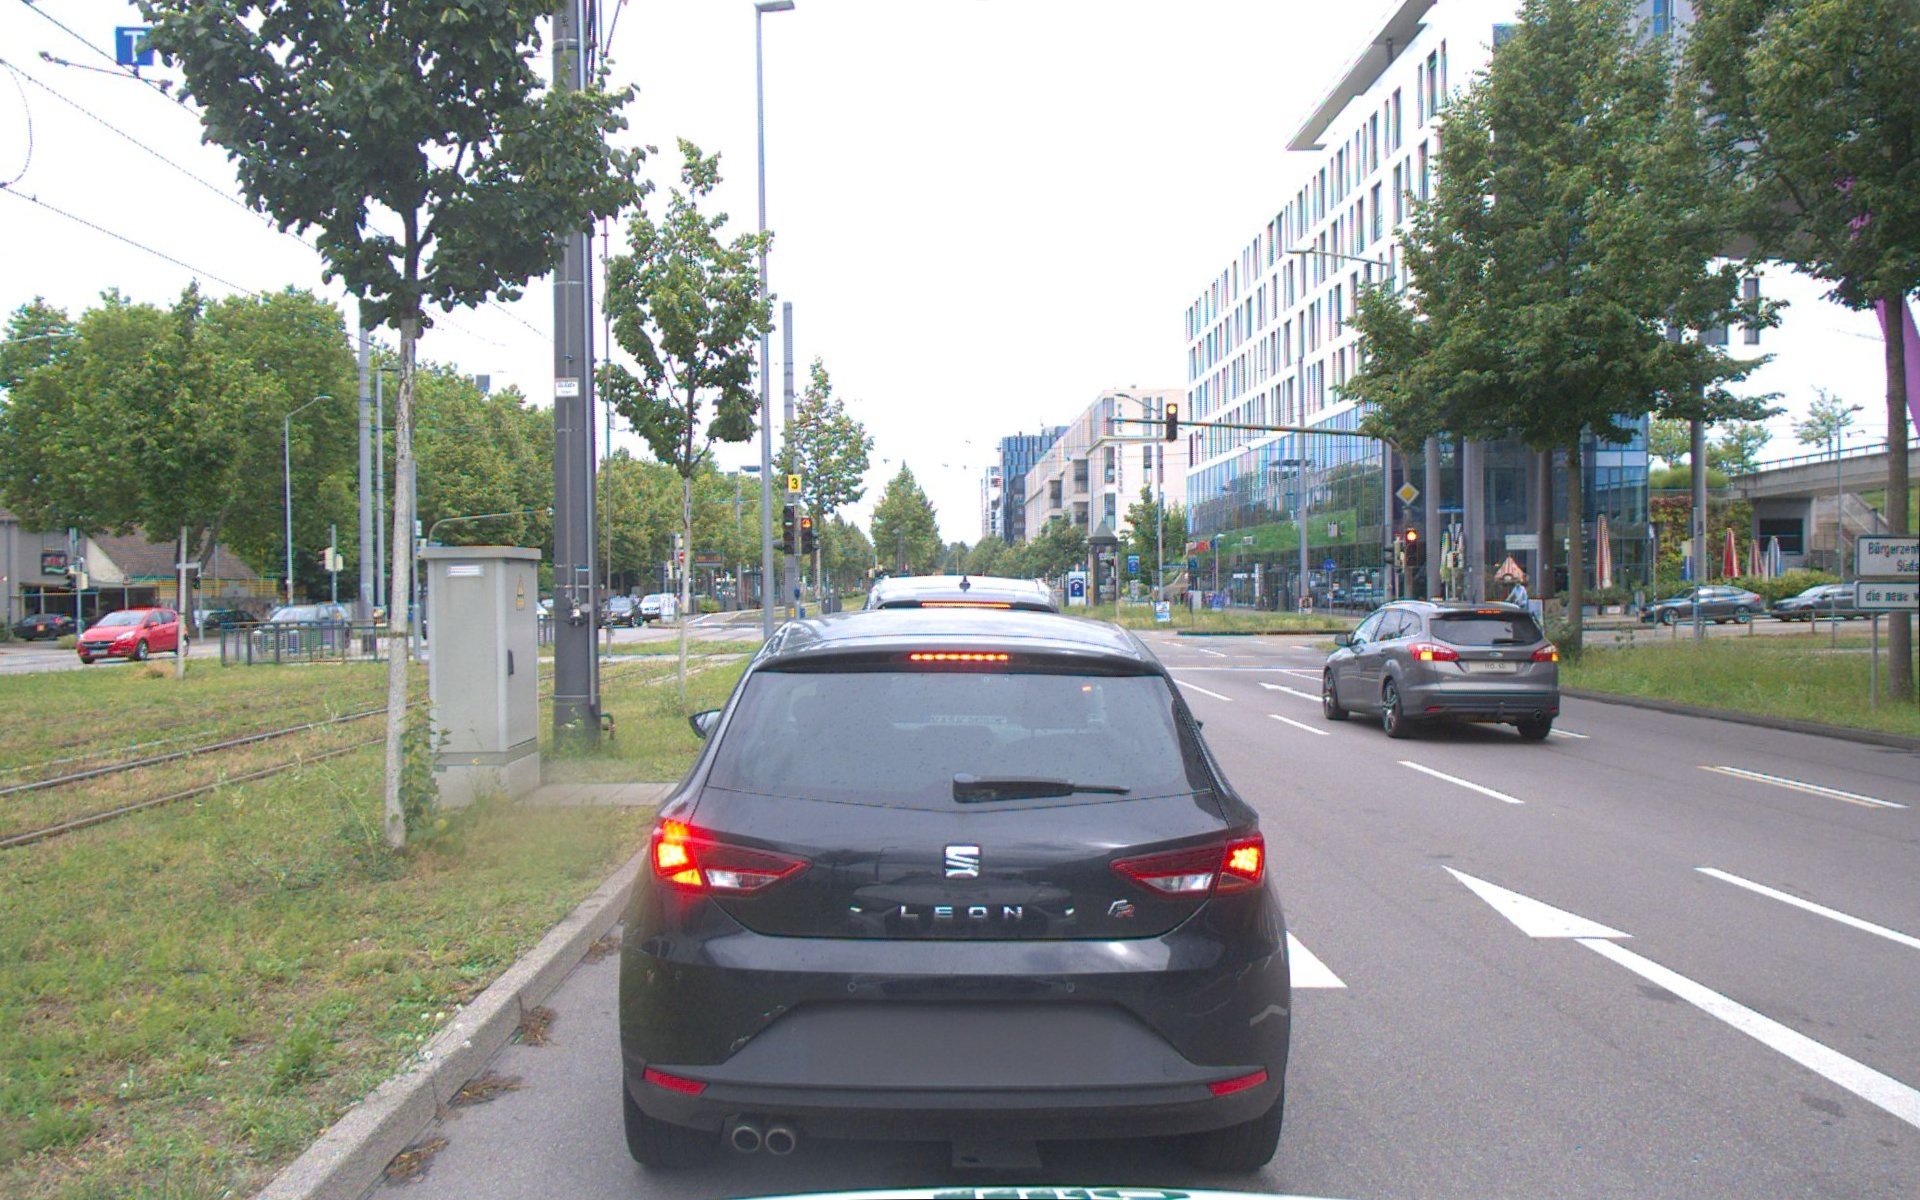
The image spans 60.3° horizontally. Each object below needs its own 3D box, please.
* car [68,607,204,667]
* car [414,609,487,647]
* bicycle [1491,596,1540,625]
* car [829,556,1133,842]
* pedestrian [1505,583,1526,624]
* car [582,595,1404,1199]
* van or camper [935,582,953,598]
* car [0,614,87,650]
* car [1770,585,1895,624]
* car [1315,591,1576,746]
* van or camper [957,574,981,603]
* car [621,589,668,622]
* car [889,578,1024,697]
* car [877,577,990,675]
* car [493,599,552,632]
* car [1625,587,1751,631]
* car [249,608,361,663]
[{"bbox_3d":[-23.825,1.033,47.998,1.759,1.598,4.328,-1,1,0],"label":"car"},{"bbox_3d":[-20.542,1.098,66.844,1.765,1.401,4.056,-1,0,-2],"label":"car"},{"bbox_3d":[22.362,0.419,66.627,1.755,1.104,0.618,-1,0,1],"label":"bicycle"},{"bbox_3d":[0.094,0.565,11.686,1.766,1.653,3.999,-1,0,-1],"label":"car"},{"bbox_3d":[22.374,0.149,66.630,0.602,1.632,0.619,-1,0,1],"label":"pedestrian"},{"bbox_3d":[0.020,0.725,5.460,1.708,1.442,3.999,1,0,-2],"label":"car"},{"bbox_3d":[-1.711,-1.075,180.675,1.953,1.643,4.789,0,2,0],"label":"van or camper"},{"bbox_3d":[-50.484,1.758,90.620,4.190,1.847,2.108,-1,0,3],"label":"car"},{"bbox_3d":[34.414,0.175,65.290,3.996,1.480,1.758,-1,0,1],"label":"car"},{"bbox_3d":[5.493,0.703,19.287,1.712,1.525,4.268,0,1,-1],"label":"car"},{"bbox_3d":[0.760,-1.065,147.620,2.066,2.397,4.923,0,2,0],"label":"van or camper"},{"bbox_3d":[-18.089,0.298,94.994,1.953,1.780,4.199,-1,0,-2],"label":"car"},{"bbox_3d":[0.021,0.529,26.070,1.952,1.711,4.001,1,1,2],"label":"car"},{"bbox_3d":[-0.438,0.438,31.125,1.952,1.711,4.001,1,1,1],"label":"car"},{"bbox_3d":[-22.895,0.797,86.724,1.774,1.616,5.076,-1,0,-1],"label":"car"},{"bbox_3d":[28.507,0.331,64.879,4.163,1.643,1.758,-1,0,1],"label":"car"},{"bbox_3d":[-20.023,1.054,50.792,1.630,1.451,4.744,-2,1,-2],"label":"car"}]
